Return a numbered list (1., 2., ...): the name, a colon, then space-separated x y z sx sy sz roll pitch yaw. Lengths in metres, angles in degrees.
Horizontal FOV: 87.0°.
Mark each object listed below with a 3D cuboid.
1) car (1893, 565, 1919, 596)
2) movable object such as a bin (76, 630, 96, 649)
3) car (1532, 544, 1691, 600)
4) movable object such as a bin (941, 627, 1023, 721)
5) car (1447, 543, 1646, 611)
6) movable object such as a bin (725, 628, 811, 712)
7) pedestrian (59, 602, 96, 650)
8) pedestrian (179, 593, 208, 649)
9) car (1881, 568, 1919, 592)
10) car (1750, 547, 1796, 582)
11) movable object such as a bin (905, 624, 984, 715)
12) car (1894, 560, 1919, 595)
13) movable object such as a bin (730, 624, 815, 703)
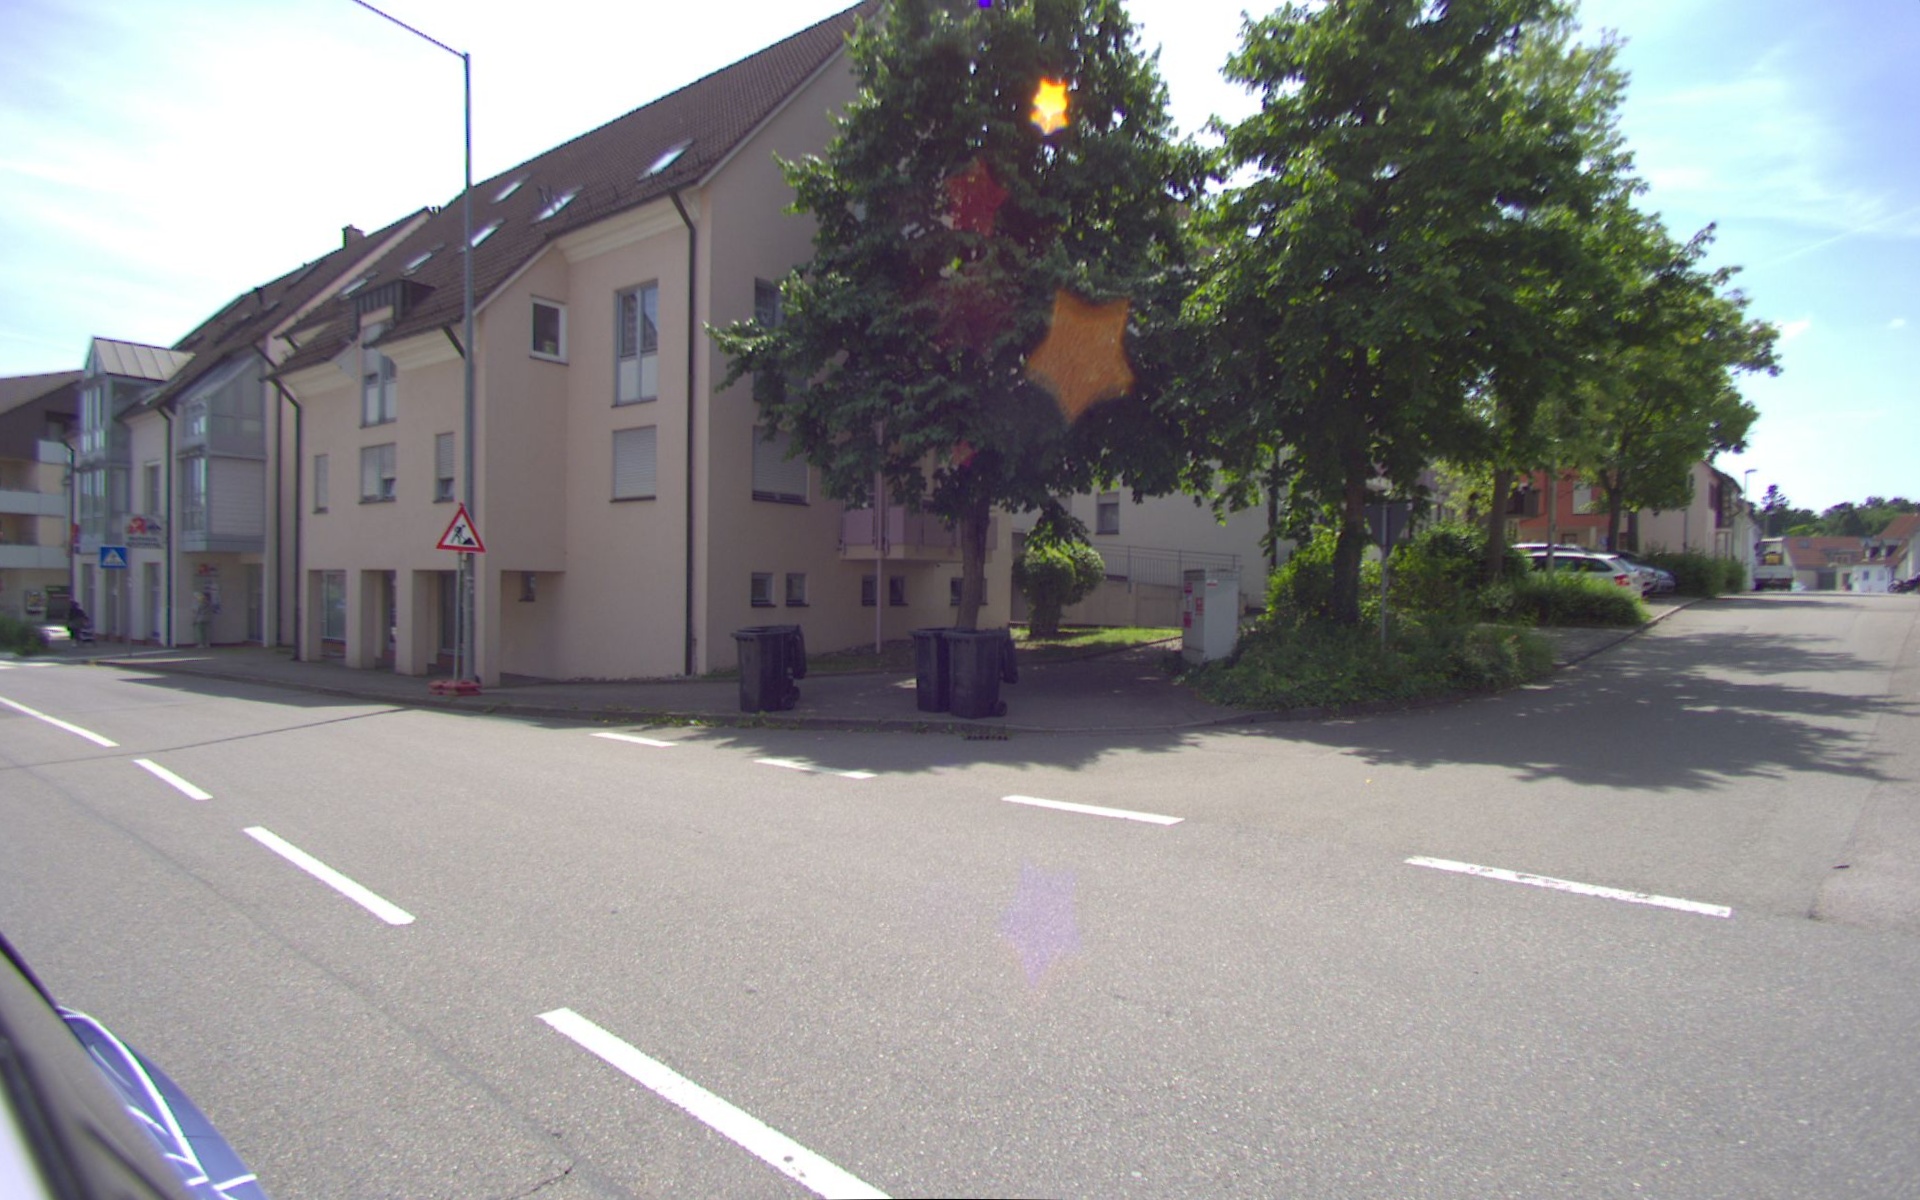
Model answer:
1. car: 56.040 -1.163 59.260 2.000 1.578 3.944 -1 3 43
2. movable object such as a bin: -28.257 1.272 32.717 0.469 0.586 0.452 -1 0 43
3. car: 20.545 -0.857 32.006 3.998 1.590 1.790 -2 0 41
4. movable object such as a bin: 0.270 0.868 12.199 0.609 1.007 0.763 2 5 43
5. car: 15.045 -0.534 26.054 4.144 1.579 1.973 -1 0 40
6. movable object such as a bin: -2.464 0.877 13.004 0.694 1.008 0.842 -1 0 42
7. pedestrian: -28.628 0.830 32.826 0.957 1.489 0.791 -1 0 43
8. pedestrian: -23.982 0.645 31.674 0.579 1.722 0.569 -1 1 41
9. car: 69.587 -1.476 74.936 2.000 1.578 3.944 -1 3 43
10. car: 47.274 -2.065 58.831 1.998 1.960 4.302 1 2 39
11. movable object such as a bin: -0.186 0.850 12.666 0.609 1.007 0.763 1 5 42
12. car: 49.120 -1.184 51.731 2.000 1.578 3.944 -1 3 43
13. movable object such as a bin: -2.577 0.851 13.920 0.805 1.008 0.792 -1 1 42
